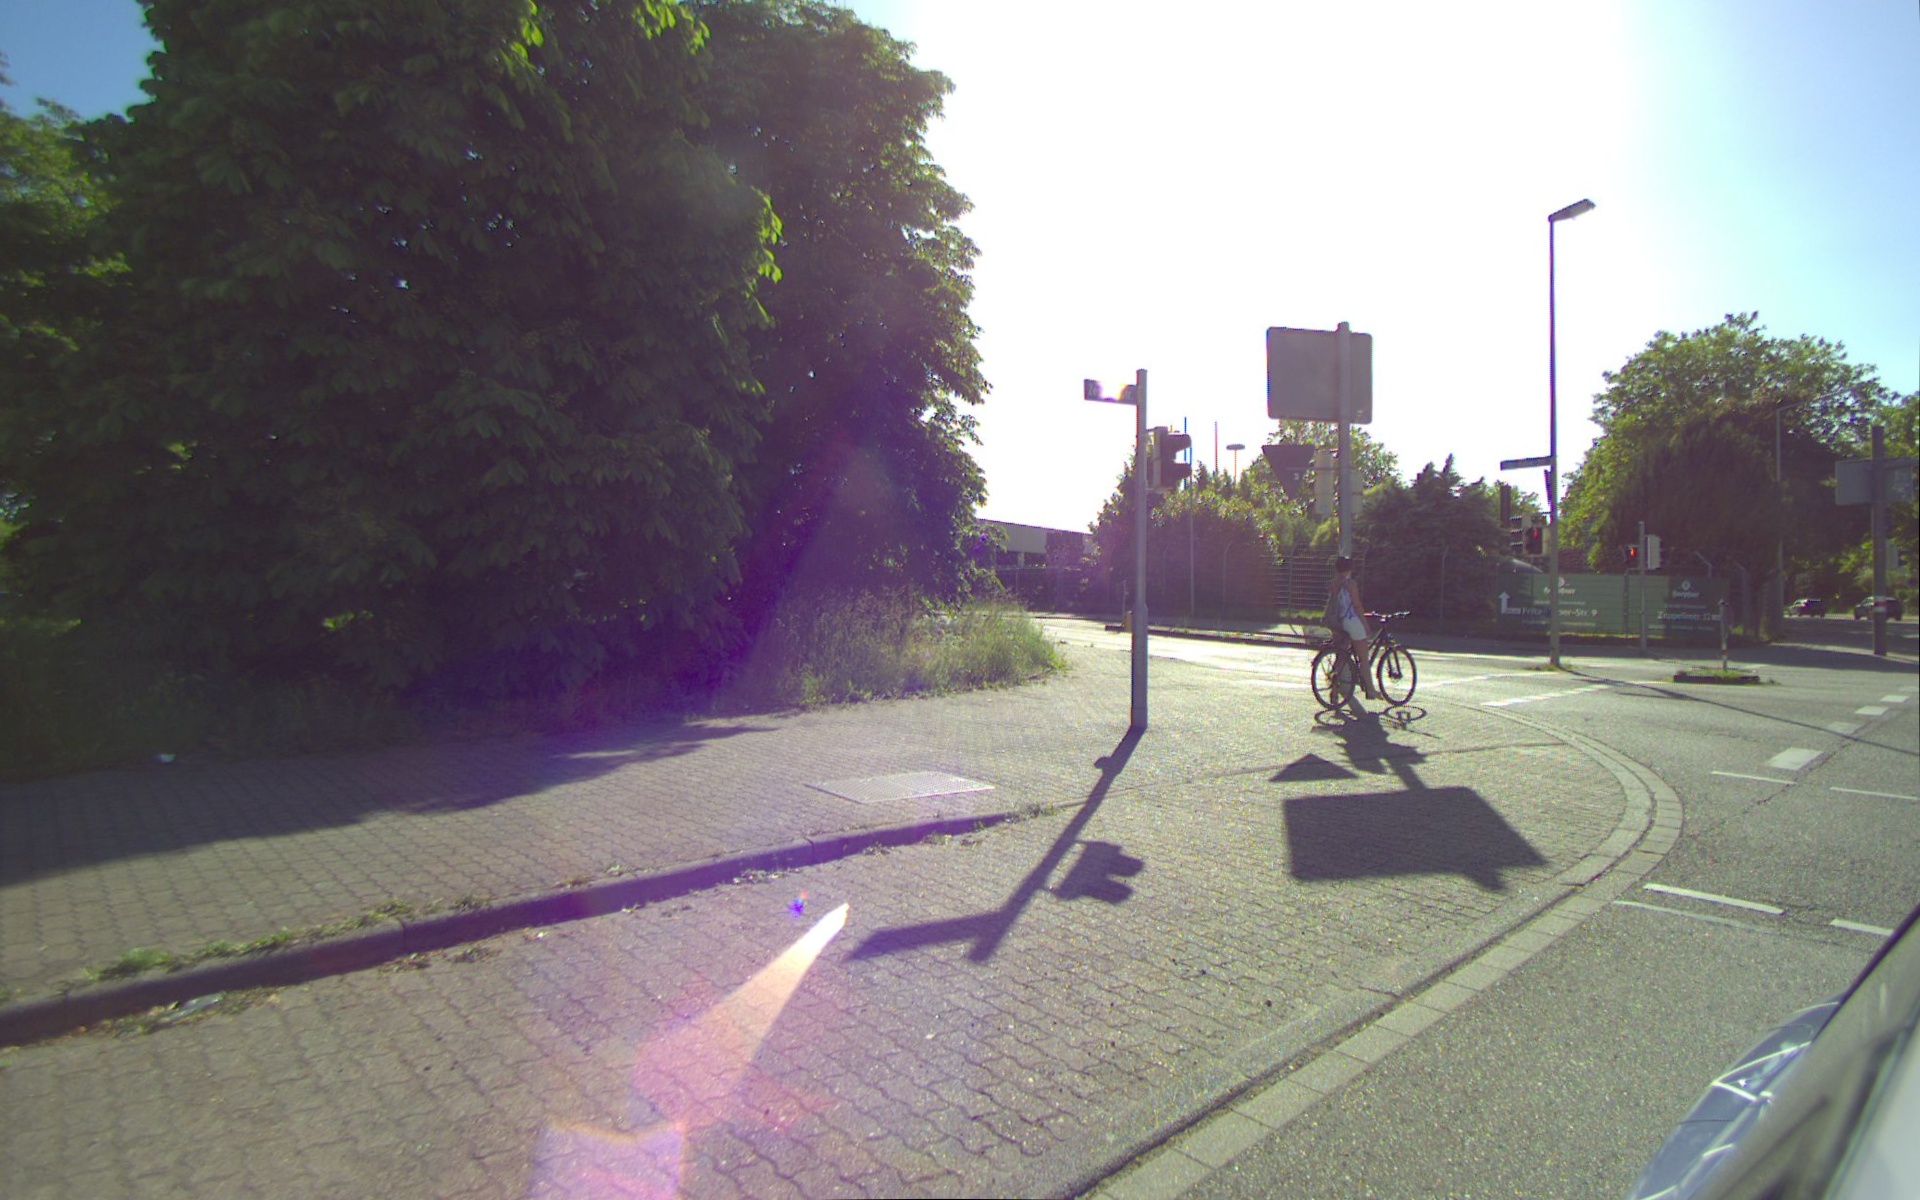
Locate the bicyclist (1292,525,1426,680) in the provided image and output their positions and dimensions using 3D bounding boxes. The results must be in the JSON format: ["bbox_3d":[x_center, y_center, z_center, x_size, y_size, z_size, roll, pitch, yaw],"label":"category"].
[{"bbox_3d":[4.665,0.032,11.854,1.165,1.714,0.894,0,-1,-23],"label":"bicyclist"}]

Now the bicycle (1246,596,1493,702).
[{"bbox_3d":[4.835,0.538,11.915,2.891,1.140,0.905,0,-1,-23],"label":"bicycle"}]

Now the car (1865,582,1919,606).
[{"bbox_3d":[66.462,-0.445,72.100,1.843,1.655,4.219,1,0,25],"label":"car"}]
